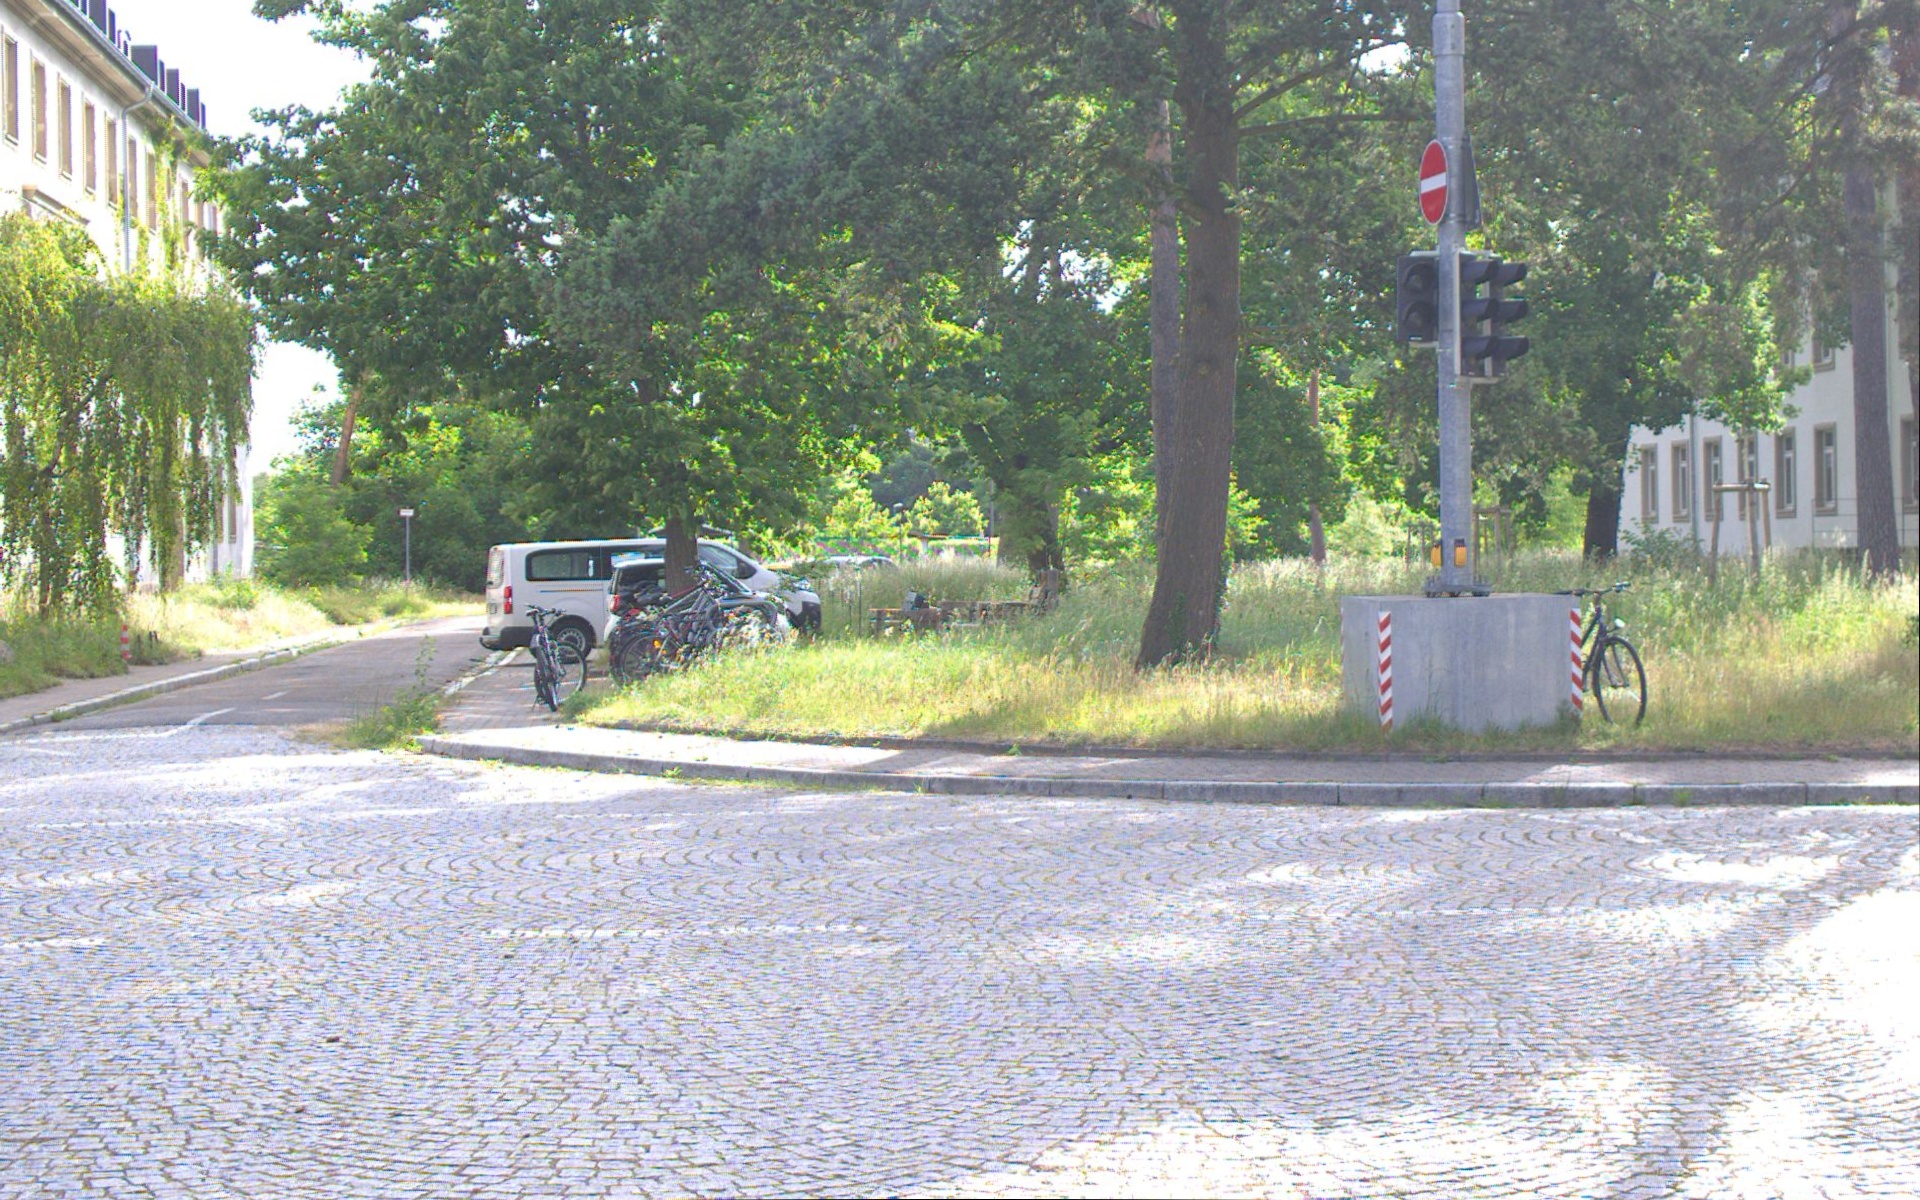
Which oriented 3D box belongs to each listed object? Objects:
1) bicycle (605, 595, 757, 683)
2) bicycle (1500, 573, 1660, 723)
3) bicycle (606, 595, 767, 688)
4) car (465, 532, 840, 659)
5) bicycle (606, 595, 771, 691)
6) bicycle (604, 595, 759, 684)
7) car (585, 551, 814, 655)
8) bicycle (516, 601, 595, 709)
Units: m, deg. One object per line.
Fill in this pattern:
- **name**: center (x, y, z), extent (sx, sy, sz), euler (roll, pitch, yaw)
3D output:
- **bicycle**: center (-3.374, 0.462, 41.571), extent (1.792, 0.995, 0.644), euler (-1, 2, -6)
- **bicycle**: center (4.445, 0.325, 24.747), extent (0.562, 0.995, 1.752), euler (-1, 2, -9)
- **bicycle**: center (-3.134, 0.472, 39.343), extent (1.792, 0.995, 0.644), euler (-1, 2, -6)
- **car**: center (-4.853, -0.088, 54.164), extent (5.499, 1.909, 2.255), euler (-1, 0, -19)
- **bicycle**: center (-3.036, 0.474, 38.327), extent (1.792, 0.995, 0.644), euler (-1, 2, -6)
- **bicycle**: center (-3.311, 0.466, 40.834), extent (1.792, 0.995, 0.644), euler (-1, 2, -6)
- **car**: center (-3.848, 0.044, 50.672), extent (3.031, 1.460, 1.720), euler (-1, 0, -18)
- **bicycle**: center (-4.063, 0.539, 34.633), extent (0.728, 0.995, 1.799), euler (-1, 2, -5)
